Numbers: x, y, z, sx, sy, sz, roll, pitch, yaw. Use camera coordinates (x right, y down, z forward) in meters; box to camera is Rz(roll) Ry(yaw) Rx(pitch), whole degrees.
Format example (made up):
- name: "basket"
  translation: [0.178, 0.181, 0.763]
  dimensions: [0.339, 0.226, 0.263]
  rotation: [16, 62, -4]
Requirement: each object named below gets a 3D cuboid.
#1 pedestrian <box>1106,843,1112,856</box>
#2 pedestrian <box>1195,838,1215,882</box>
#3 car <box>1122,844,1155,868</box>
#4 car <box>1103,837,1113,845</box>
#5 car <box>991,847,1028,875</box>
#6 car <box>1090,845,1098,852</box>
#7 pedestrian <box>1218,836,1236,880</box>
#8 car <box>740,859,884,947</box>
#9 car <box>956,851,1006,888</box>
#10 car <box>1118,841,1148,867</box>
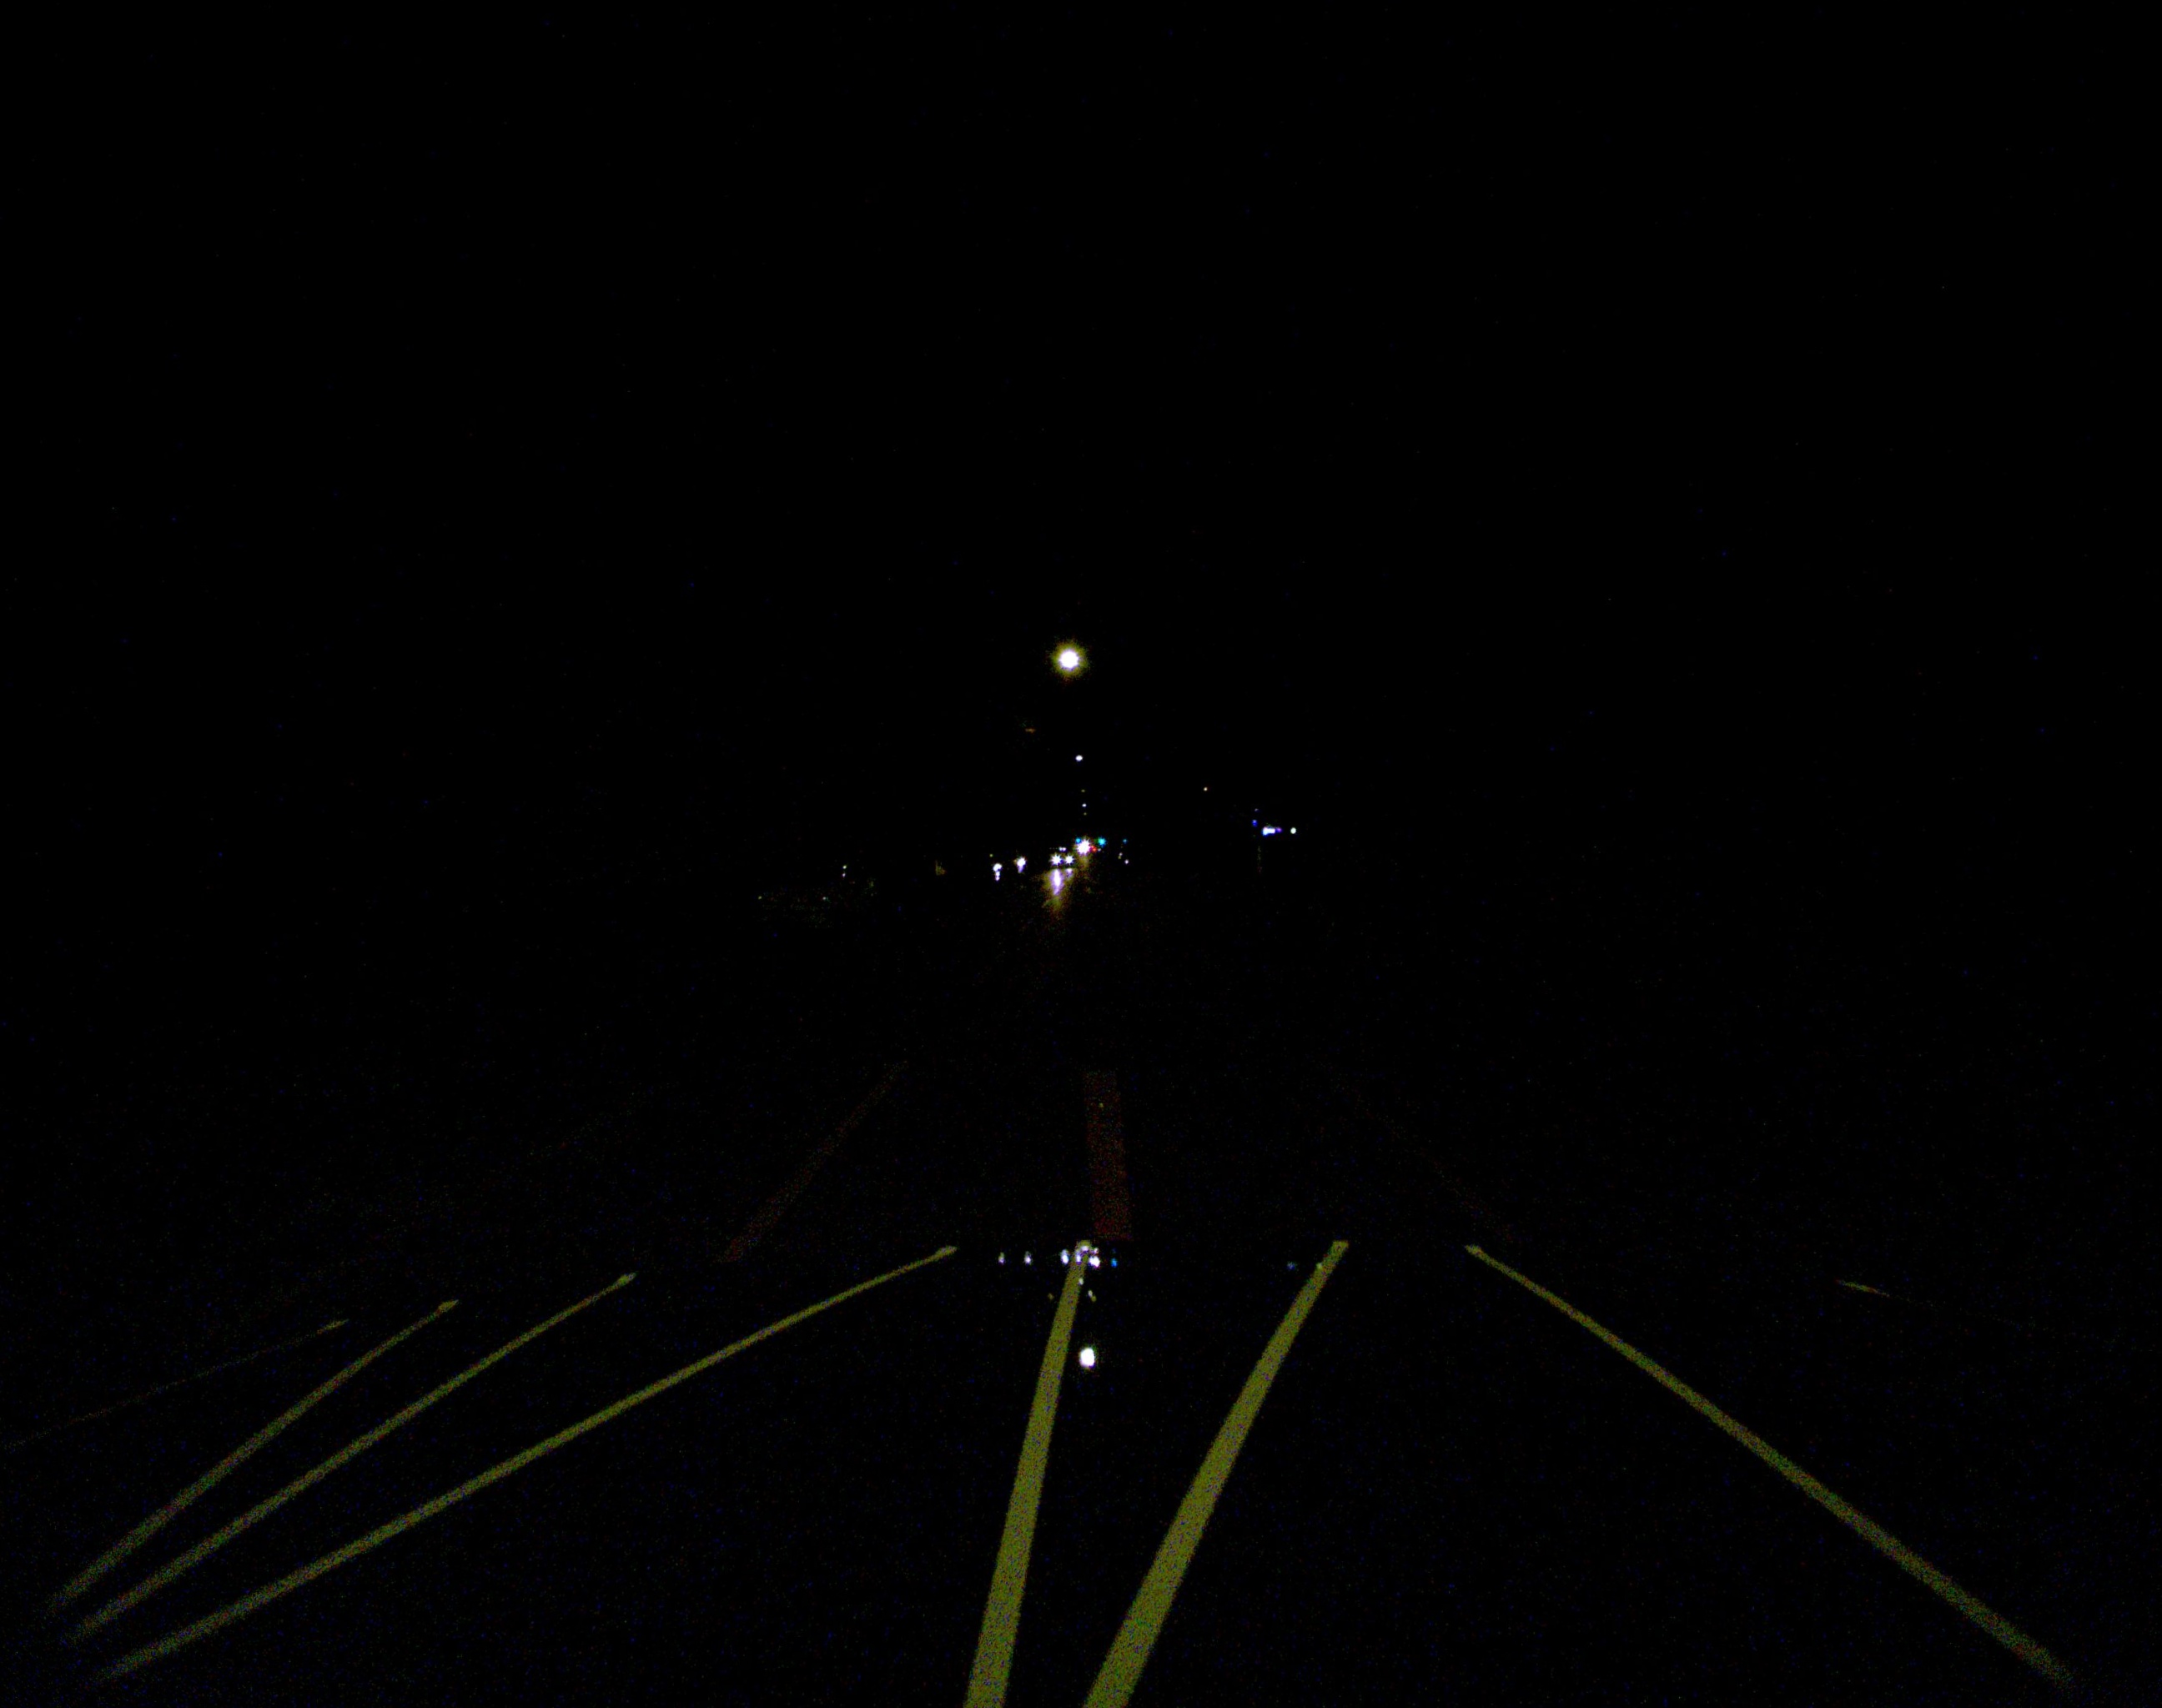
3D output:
- name: "pedestrian"
  translation: [4.333, -0.690, 118.321]
  dimensions: [0.804, 2.002, 0.940]
  rotation: [-2, 2, 1]
- name: "pedestrian"
  translation: [5.087, 0.234, 31.248]
  dimensions: [0.673, 1.750, 0.500]
  rotation: [-2, 2, 1]
- name: "car"
  translation: [3.917, 0.117, 52.324]
  dimensions: [1.998, 1.477, 3.999]
  rotation: [-3, 1, 1]
- name: "car"
  translation: [5.453, -2.694, 154.265]
  dimensions: [1.903, 1.581, 3.660]
  rotation: [-2, 1, 2]
- name: "car"
  translation: [-4.434, 0.399, 47.729]
  dimensions: [1.852, 1.643, 4.178]
  rotation: [-2, 1, 0]
- name: "car"
  translation: [3.043, -1.276, 176.988]
  dimensions: [1.754, 1.433, 3.487]
  rotation: [-2, -2, 1]
- name: "pedestrian"
  translation: [5.954, 0.148, 30.940]
  dimensions: [0.565, 1.750, 0.500]
  rotation: [-2, 2, 1]
- name: "car"
  translation: [-5.262, 0.891, 15.321]
  dimensions: [1.611, 1.500, 3.486]
  rotation: [0, 1, 1]
- name: "car"
  translation: [-4.450, 0.651, 34.199]
  dimensions: [1.742, 1.489, 3.889]
  rotation: [-1, 1, -1]
- name: "car"
  translation: [3.896, -0.049, 57.280]
  dimensions: [1.998, 1.773, 3.999]
  rotation: [-2, 1, 1]
